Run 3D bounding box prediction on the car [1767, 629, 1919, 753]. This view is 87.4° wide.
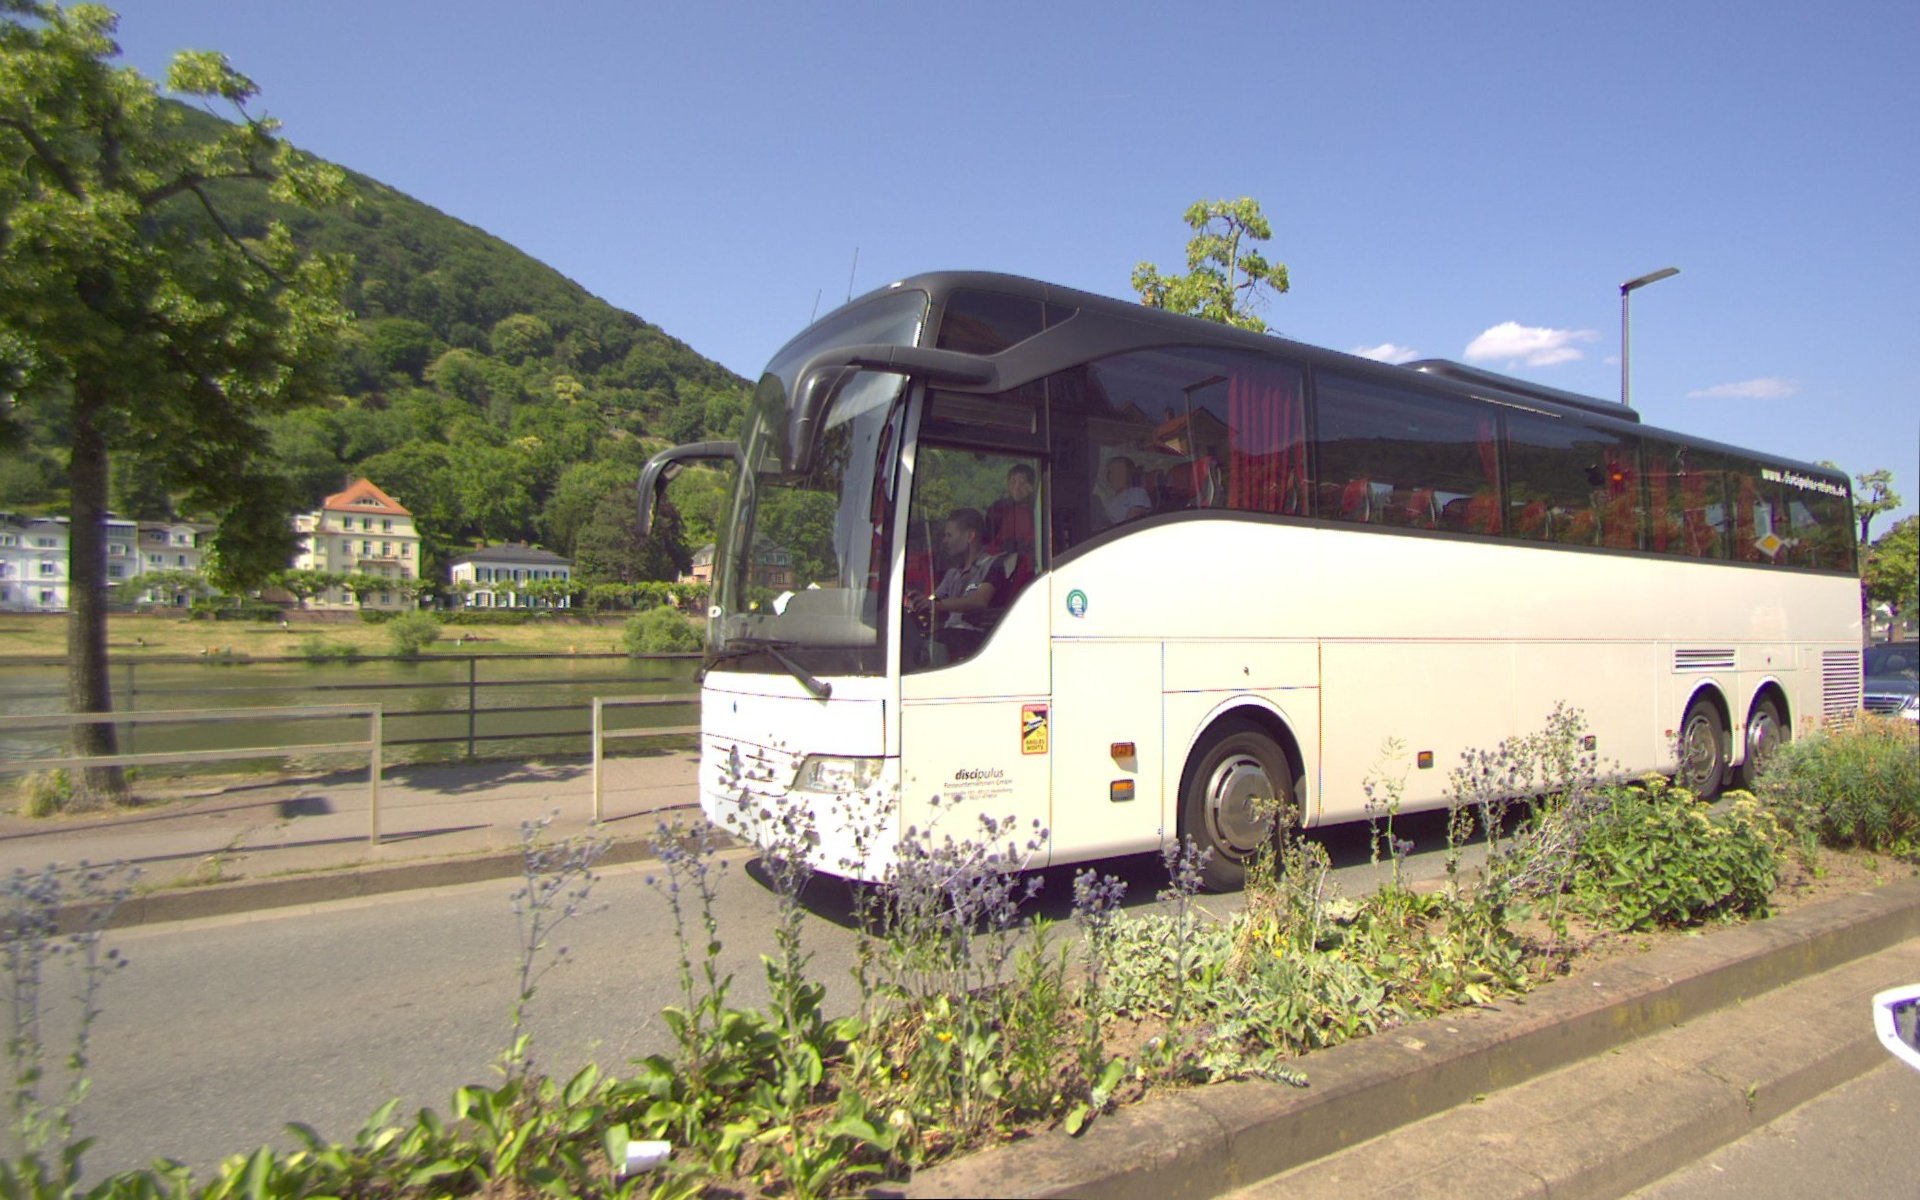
[{"bbox_3d":[14.490,1.311,15.163,5.100,1.619,1.984,2,-5,-32],"label":"car"}]

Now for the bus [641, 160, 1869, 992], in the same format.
[{"bbox_3d":[4.050,0.132,8.915,12.841,3.611,2.617,2,-2,-32],"label":"bus"}]
